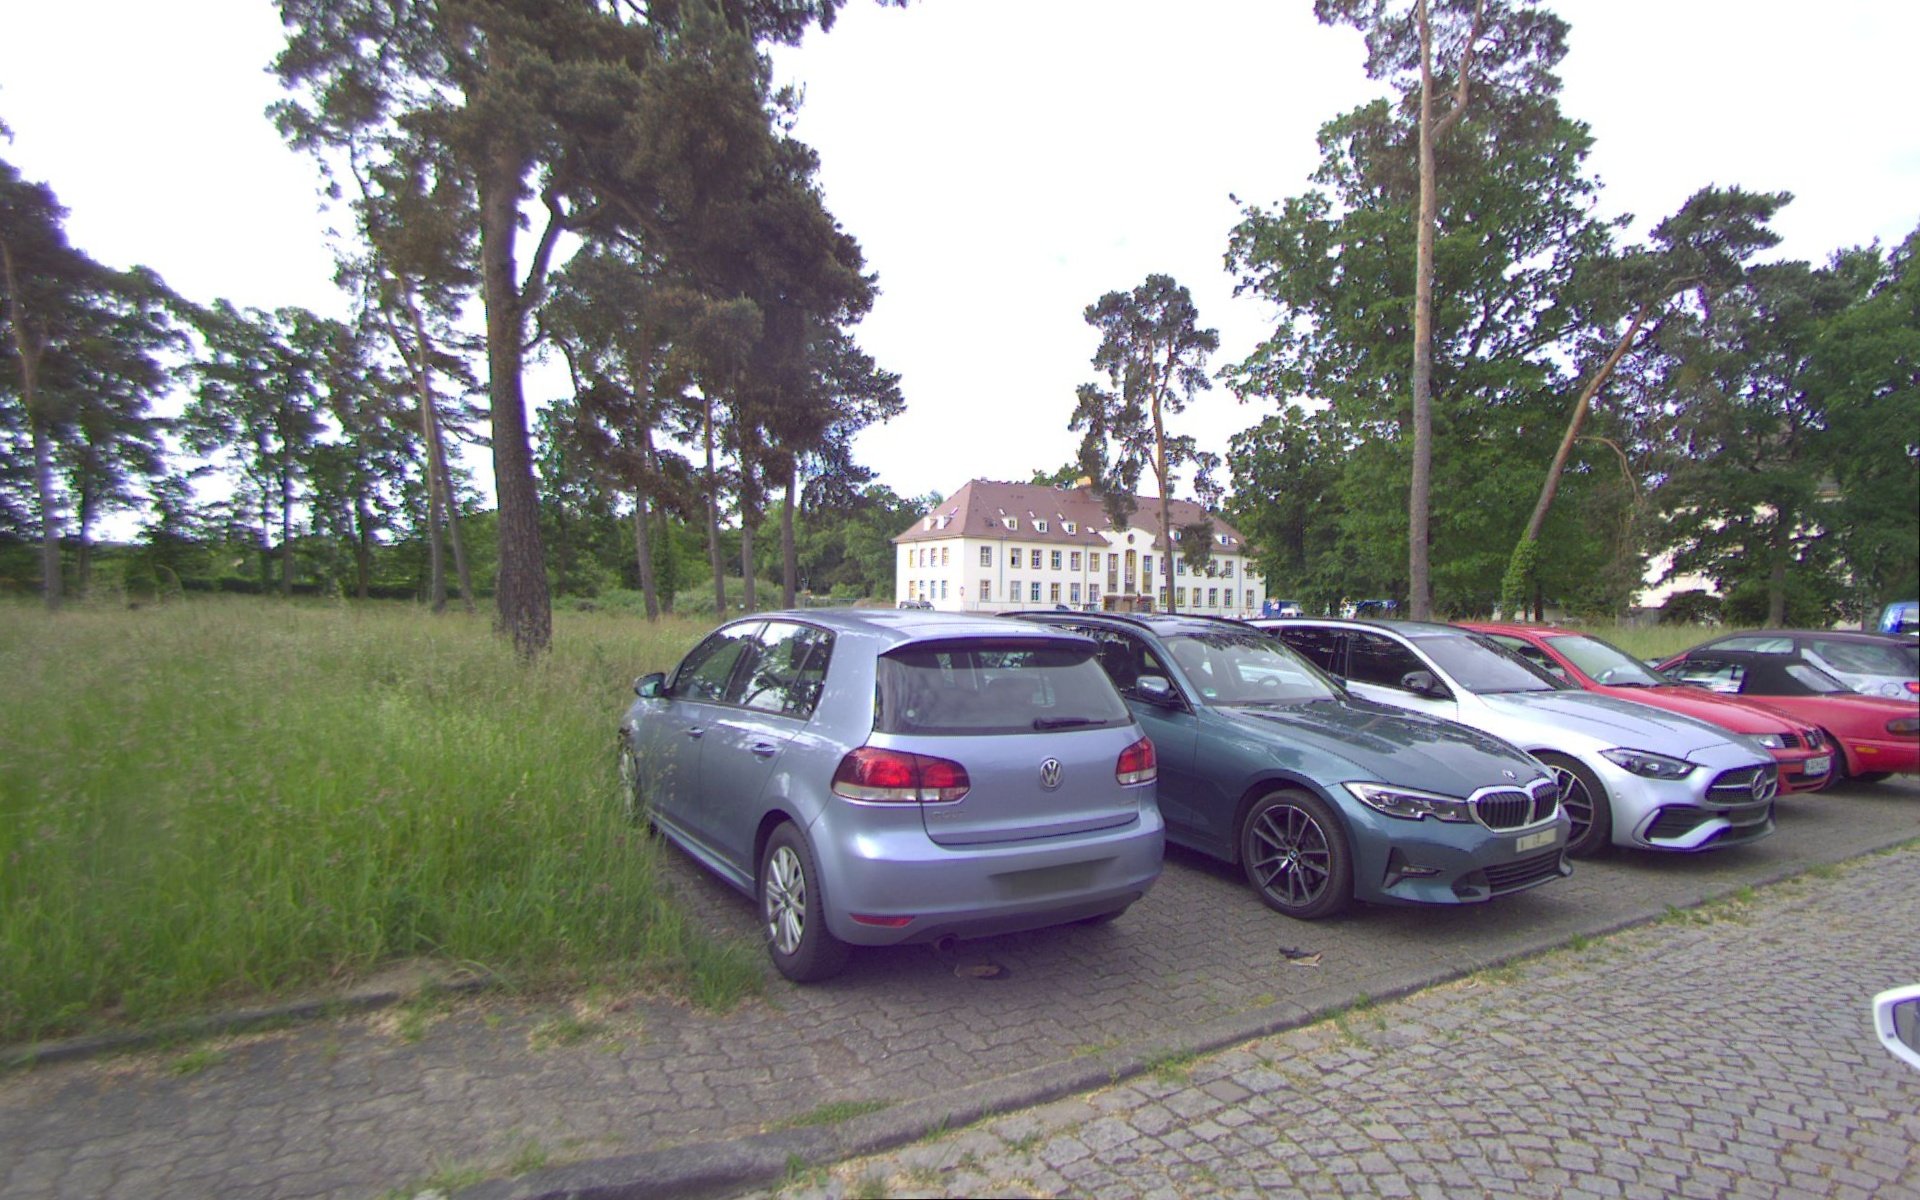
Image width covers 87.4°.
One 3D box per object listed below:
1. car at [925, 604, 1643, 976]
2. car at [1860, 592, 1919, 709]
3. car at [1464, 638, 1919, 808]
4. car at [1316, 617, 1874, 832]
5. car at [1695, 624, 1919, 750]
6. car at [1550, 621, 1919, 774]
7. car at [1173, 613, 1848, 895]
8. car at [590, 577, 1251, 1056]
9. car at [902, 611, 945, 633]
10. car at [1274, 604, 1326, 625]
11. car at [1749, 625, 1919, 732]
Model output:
[{"bbox_3d":[1.711,0.841,6.619,1.916,1.568,4.223,1,0,-35],"label":"car"},{"bbox_3d":[19.381,0.957,17.776,2.092,2.150,4.756,1,0,-32],"label":"car"},{"bbox_3d":[7.834,1.117,10.658,1.809,1.283,4.146,1,0,-30],"label":"car"},{"bbox_3d":[5.728,0.958,9.615,1.844,1.496,4.144,1,0,-32],"label":"car"},{"bbox_3d":[12.540,1.118,13.308,1.842,1.511,4.147,1,0,-29],"label":"car"},{"bbox_3d":[9.872,1.057,12.370,1.824,1.502,4.146,1,0,-30],"label":"car"},{"bbox_3d":[3.953,0.903,8.009,1.915,1.528,4.348,1,0,-33],"label":"car"},{"bbox_3d":[-0.599,0.715,5.475,1.884,1.563,3.965,1,0,-32],"label":"car"},{"bbox_3d":[-3.969,2.390,108.634,1.983,2.229,4.982,1,0,-39],"label":"car"},{"bbox_3d":[34.423,1.483,101.636,5.167,2.040,1.985,2,-1,-29],"label":"car"},{"bbox_3d":[14.792,1.191,15.251,1.824,1.517,4.048,1,0,-30],"label":"car"}]
